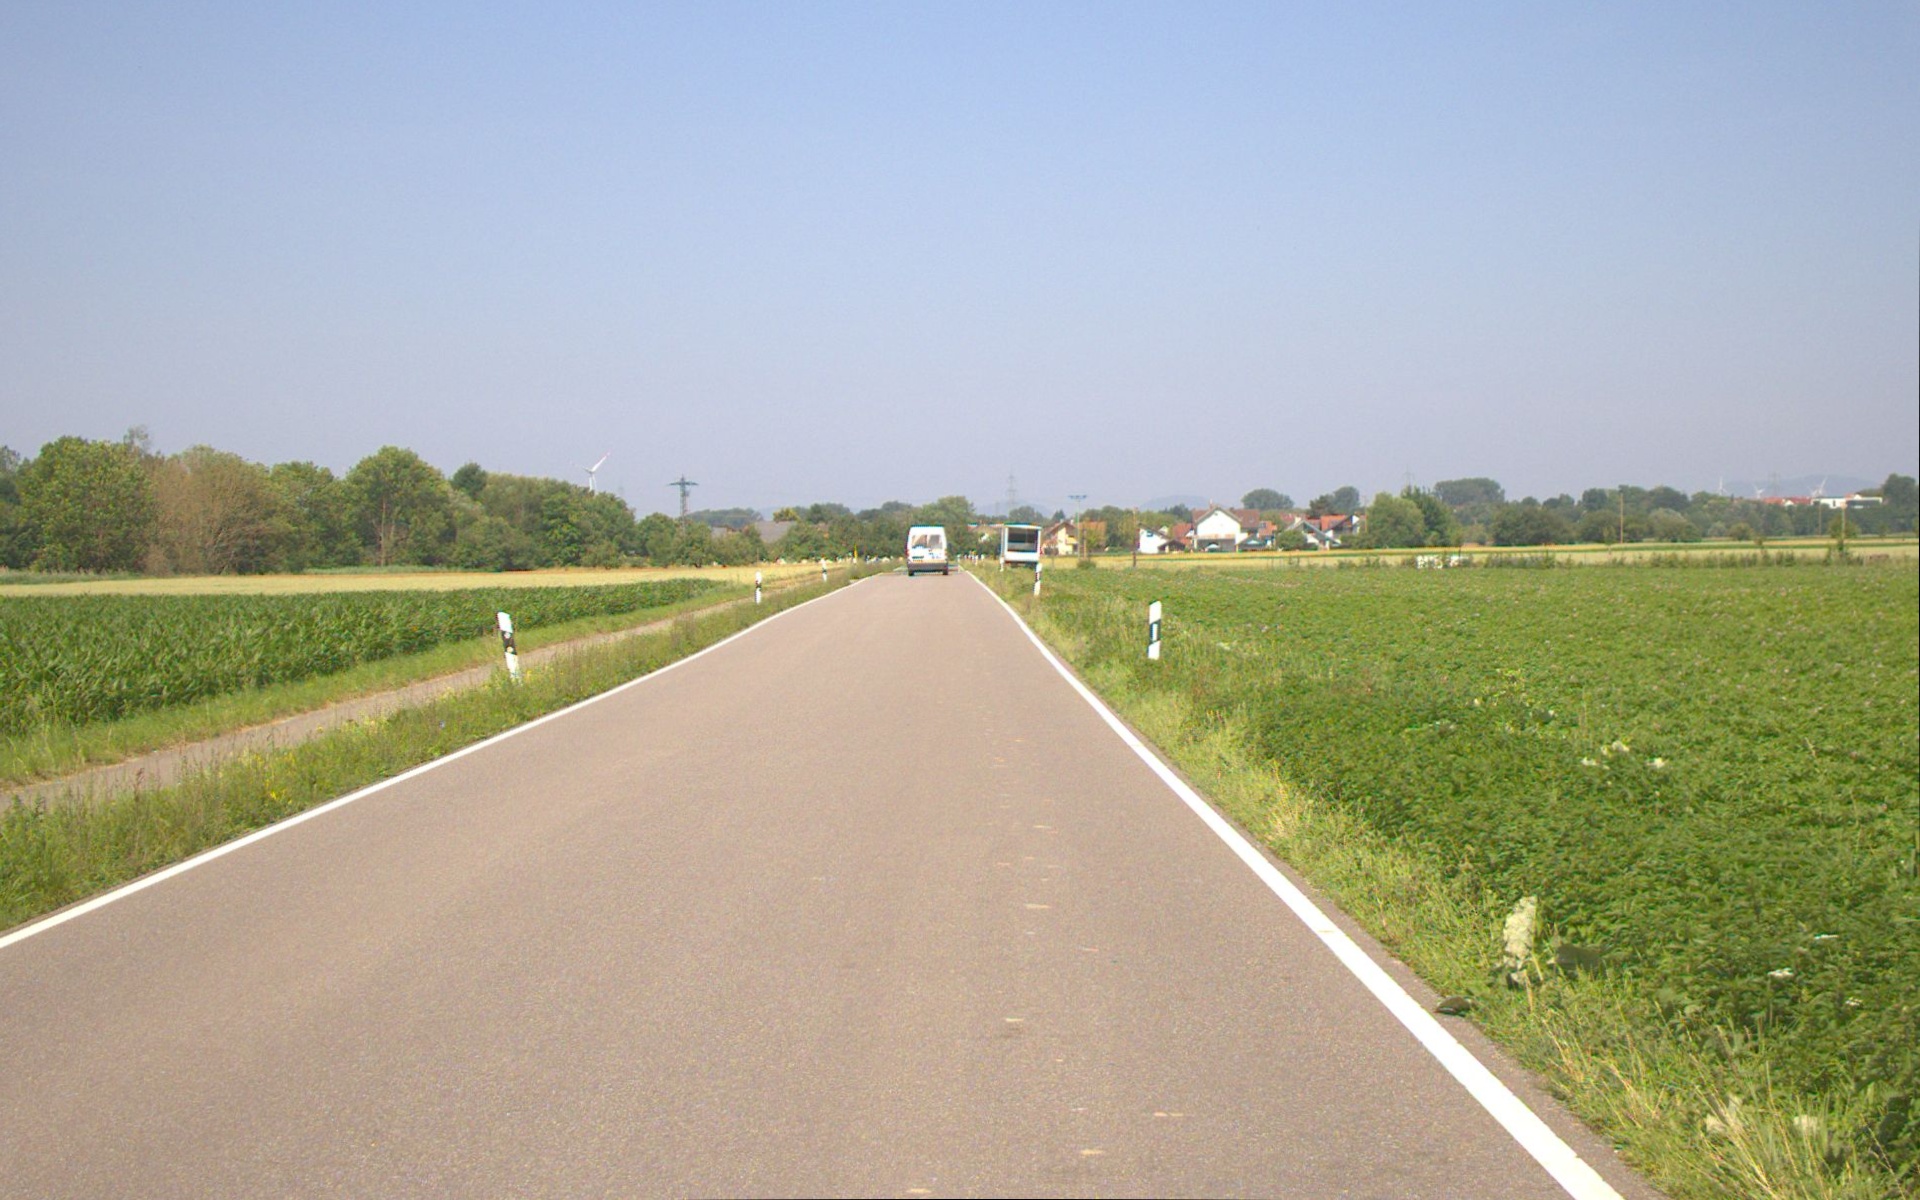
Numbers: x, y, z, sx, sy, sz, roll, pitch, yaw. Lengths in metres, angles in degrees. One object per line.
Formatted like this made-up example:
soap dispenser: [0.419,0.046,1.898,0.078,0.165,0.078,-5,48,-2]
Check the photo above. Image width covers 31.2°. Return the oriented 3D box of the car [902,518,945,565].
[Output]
car: [-1.837,-2.961,174.648,2.107,2.296,5.496,1,1,0]

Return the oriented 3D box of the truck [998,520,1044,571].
truck: [3.678,-3.309,209.044,2.335,2.932,7.009,2,1,-2]
